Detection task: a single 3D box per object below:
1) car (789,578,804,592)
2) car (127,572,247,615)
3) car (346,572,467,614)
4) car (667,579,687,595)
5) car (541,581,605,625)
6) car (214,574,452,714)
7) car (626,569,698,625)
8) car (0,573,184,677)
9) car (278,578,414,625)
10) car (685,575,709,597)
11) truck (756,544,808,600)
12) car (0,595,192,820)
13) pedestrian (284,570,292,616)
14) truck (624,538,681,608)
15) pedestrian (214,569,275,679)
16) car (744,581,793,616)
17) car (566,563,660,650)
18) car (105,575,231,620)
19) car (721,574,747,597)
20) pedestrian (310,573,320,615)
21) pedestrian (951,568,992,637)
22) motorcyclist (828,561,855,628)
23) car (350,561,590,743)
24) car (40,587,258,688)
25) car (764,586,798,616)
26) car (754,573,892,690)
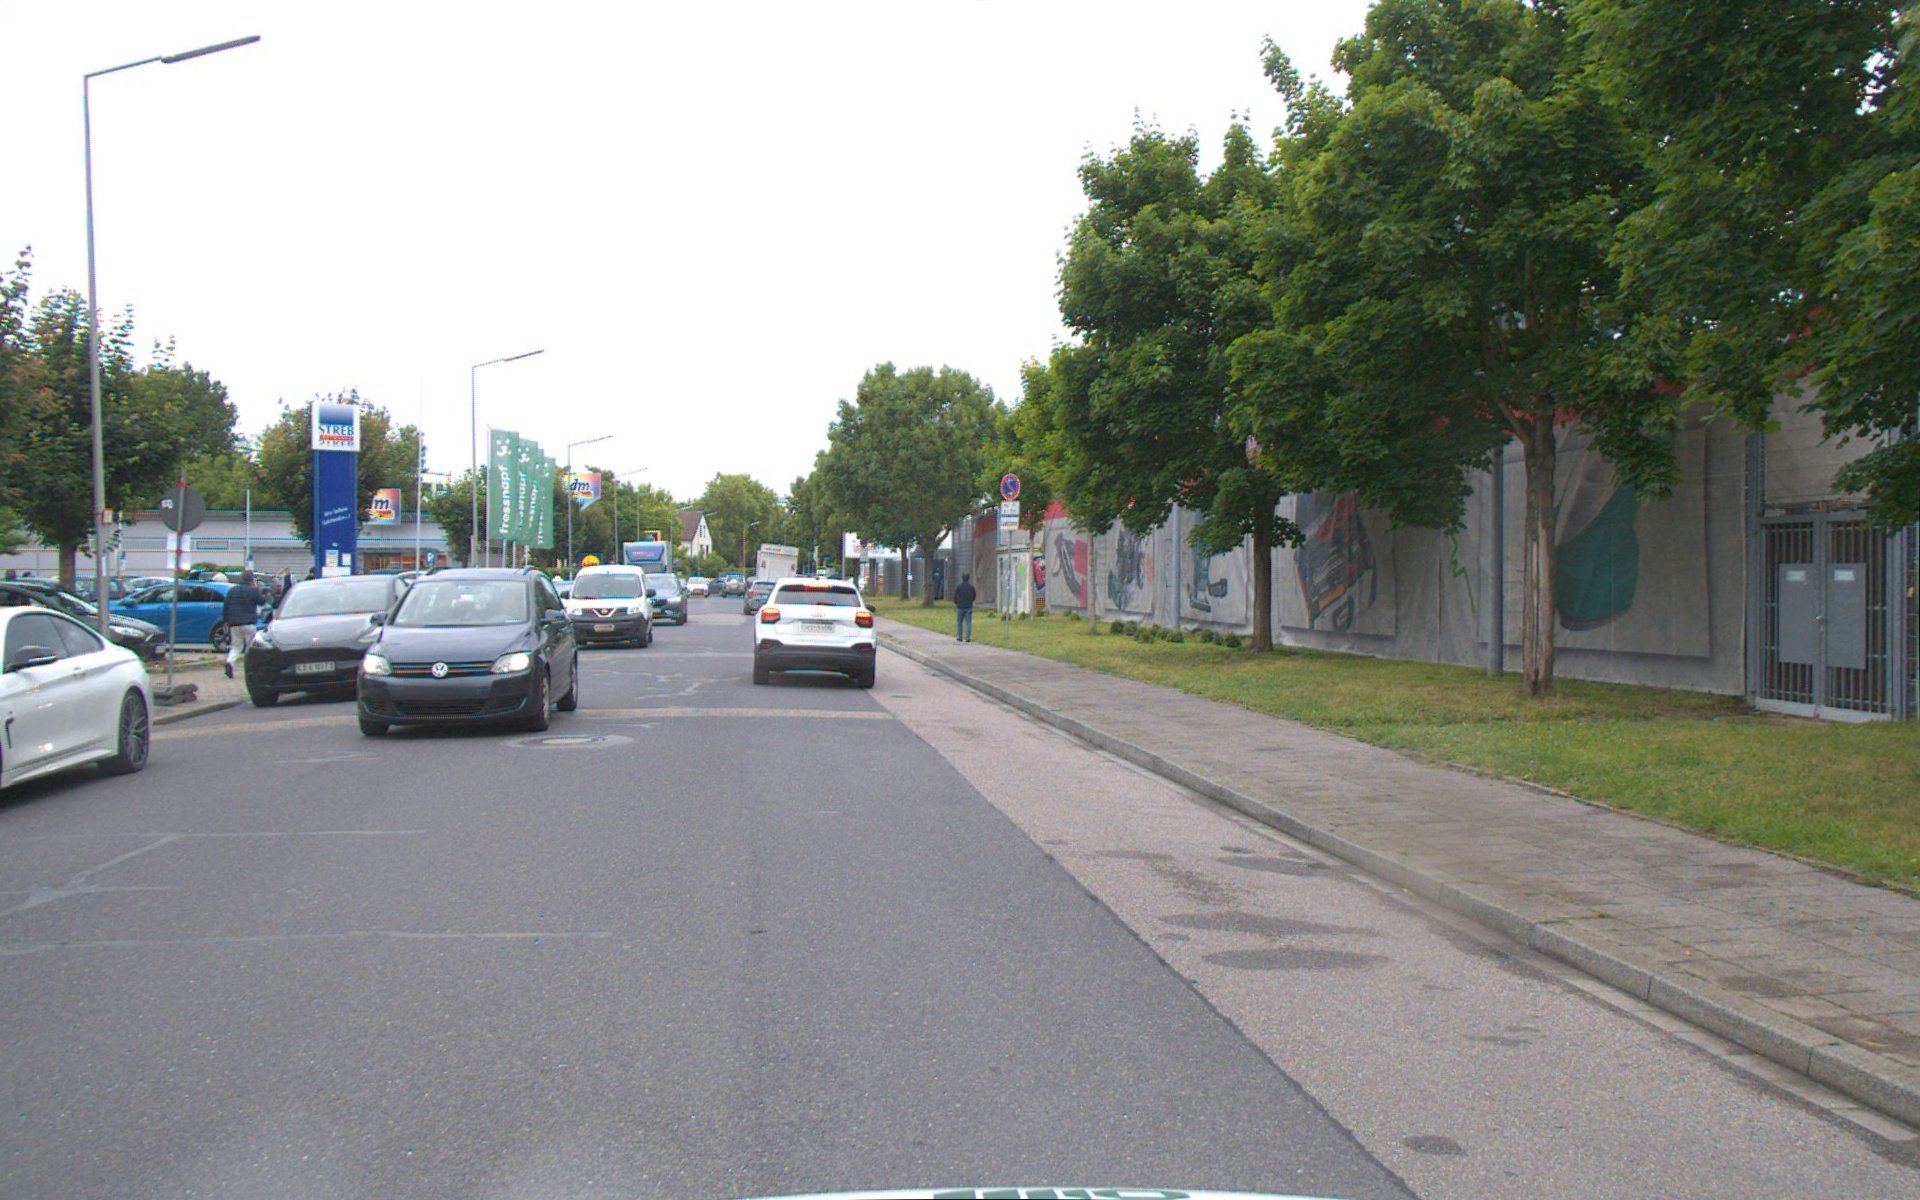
[{"bbox_3d":[-20.749,-1.922,209.785,1.851,1.712,4.248,2,0,-7],"label":"car"},{"bbox_3d":[-30.630,-0.271,65.639,3.912,1.698,1.873,0,1,-8],"label":"car"},{"bbox_3d":[-20.346,-0.270,60.959,4.064,1.489,1.892,0,1,-13],"label":"car"},{"bbox_3d":[-25.415,-1.148,148.523,1.593,1.399,3.446,2,0,-9],"label":"car"},{"bbox_3d":[-12.898,0.069,55.004,1.867,1.391,3.982,-1,1,-16],"label":"car"},{"bbox_3d":[-8.309,0.503,22.363,1.910,1.553,4.396,-4,1,-7],"label":"car"},{"bbox_3d":[-9.700,-0.119,54.114,1.896,1.713,4.490,-1,1,-5],"label":"car"},{"bbox_3d":[-15.488,0.387,27.996,3.800,1.649,1.924,1,0,-8],"label":"car"},{"bbox_3d":[-20.723,0.021,55.991,4.134,1.489,1.945,-1,1,-16],"label":"car"},{"bbox_3d":[-19.662,-1.031,123.784,1.568,1.554,3.522,-1,0,-7],"label":"car"},{"bbox_3d":[-12.518,-1.900,115.443,3.077,3.647,10.030,1,0,-9],"label":"truck"},{"bbox_3d":[-7.156,0.751,11.822,1.667,1.391,4.510,-5,1,-8],"label":"car"},{"bbox_3d":[-26.146,-0.275,64.338,0.259,1.760,0.420,0,0,-20],"label":"pedestrian"},{"bbox_3d":[-18.559,-1.643,100.295,2.917,4.025,6.395,-1,1,-7],"label":"truck"},{"bbox_3d":[-11.588,0.383,26.806,0.761,1.745,0.695,1,0,-12],"label":"pedestrian"},{"bbox_3d":[-7.962,-0.076,68.452,1.901,1.391,3.993,-1,1,-8],"label":"car"},{"bbox_3d":[-7.721,0.105,37.071,1.657,1.791,4.129,-2,1,-7],"label":"car"},{"bbox_3d":[-30.191,-0.111,63.169,3.912,1.698,1.873,0,1,-8],"label":"car"},{"bbox_3d":[-17.015,-1.108,124.299,1.835,1.691,3.992,-1,1,-9],"label":"car"},{"bbox_3d":[-24.703,-0.234,63.387,0.354,1.597,0.501,0,0,-21],"label":"pedestrian"},{"bbox_3d":[0.277,0.061,41.235,0.901,1.663,0.851,1,0,-6],"label":"pedestrian"},{"bbox_3d":[-2.803,-0.132,39.037,0.613,1.581,0.603,0,0,-6],"label":"motorcyclist"},{"bbox_3d":[-4.854,0.437,16.902,1.696,1.599,3.940,-1,1,-7],"label":"car"},{"bbox_3d":[-17.136,0.760,35.138,3.864,2.049,1.754,0,1,-15],"label":"car"},{"bbox_3d":[-11.533,0.057,106.467,1.957,1.837,3.992,2,0,-9],"label":"car"},{"bbox_3d":[-2.140,0.412,24.975,1.851,1.558,4.248,2,0,-7],"label":"car"}]
